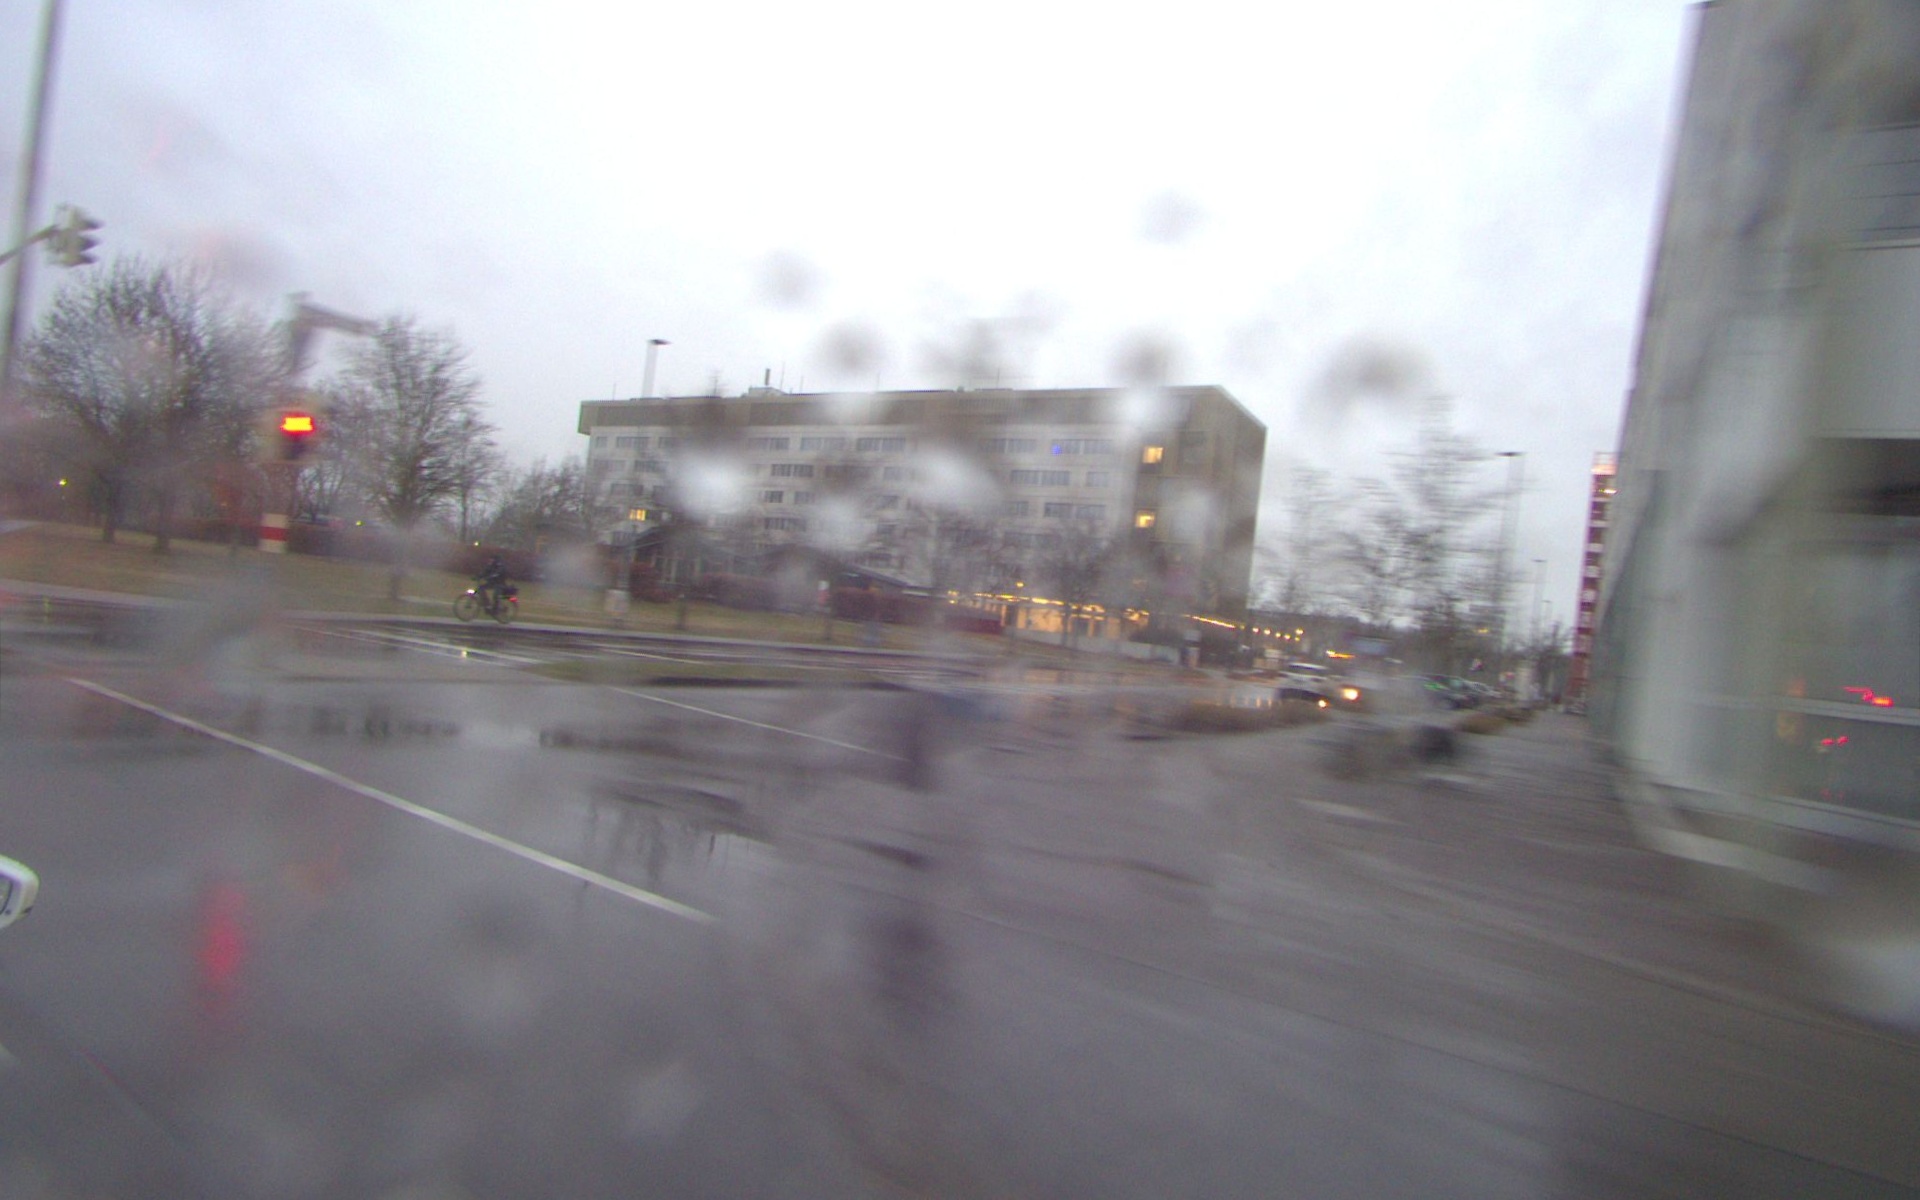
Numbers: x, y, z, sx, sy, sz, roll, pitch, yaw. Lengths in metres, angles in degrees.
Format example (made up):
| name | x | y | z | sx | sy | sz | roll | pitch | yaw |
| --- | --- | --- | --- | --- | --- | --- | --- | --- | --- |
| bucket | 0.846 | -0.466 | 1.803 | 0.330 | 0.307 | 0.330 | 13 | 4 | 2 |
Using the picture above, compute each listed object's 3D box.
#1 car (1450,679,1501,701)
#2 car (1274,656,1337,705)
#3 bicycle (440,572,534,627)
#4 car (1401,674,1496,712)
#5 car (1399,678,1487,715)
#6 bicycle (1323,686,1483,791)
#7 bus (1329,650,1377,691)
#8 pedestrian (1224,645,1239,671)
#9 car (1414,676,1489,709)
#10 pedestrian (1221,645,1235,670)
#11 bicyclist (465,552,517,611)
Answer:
| name | x | y | z | sx | sy | sz | roll | pitch | yaw |
| --- | --- | --- | --- | --- | --- | --- | --- | --- | --- |
| car | 45.479 | 7.939 | 88.777 | 3.805 | 1.470 | 1.669 | 5 | -4 | 35 |
| car | 14.137 | 3.320 | 41.104 | 1.964 | 1.654 | 3.281 | 6 | -4 | 25 |
| bicycle | -12.735 | -0.001 | 27.142 | 1.022 | 1.230 | 1.967 | 8 | 0 | 29 |
| car | 28.679 | 5.467 | 59.134 | 4.738 | 1.573 | 1.769 | 5 | -4 | 35 |
| car | 26.359 | 5.260 | 54.985 | 4.067 | 1.437 | 1.770 | 5 | -4 | 33 |
| bicycle | 6.012 | 1.856 | 13.703 | 1.844 | 1.118 | 0.471 | 6 | 0 | 32 |
| bus | 33.605 | 6.059 | 85.843 | 2.259 | 2.742 | 8.140 | 5 | -4 | 32 |
| pedestrian | 22.694 | 4.835 | 84.167 | 0.802 | 2.036 | 0.750 | 5 | -3 | 33 |
| car | 31.485 | 5.924 | 64.418 | 4.057 | 1.545 | 1.605 | 5 | -3 | 33 |
| pedestrian | 22.647 | 4.872 | 85.054 | 0.790 | 2.036 | 0.639 | 5 | -3 | 38 |
| bicyclist | -12.650 | -0.497 | 27.126 | 0.912 | 1.446 | 0.752 | 5 | -3 | 35 |
